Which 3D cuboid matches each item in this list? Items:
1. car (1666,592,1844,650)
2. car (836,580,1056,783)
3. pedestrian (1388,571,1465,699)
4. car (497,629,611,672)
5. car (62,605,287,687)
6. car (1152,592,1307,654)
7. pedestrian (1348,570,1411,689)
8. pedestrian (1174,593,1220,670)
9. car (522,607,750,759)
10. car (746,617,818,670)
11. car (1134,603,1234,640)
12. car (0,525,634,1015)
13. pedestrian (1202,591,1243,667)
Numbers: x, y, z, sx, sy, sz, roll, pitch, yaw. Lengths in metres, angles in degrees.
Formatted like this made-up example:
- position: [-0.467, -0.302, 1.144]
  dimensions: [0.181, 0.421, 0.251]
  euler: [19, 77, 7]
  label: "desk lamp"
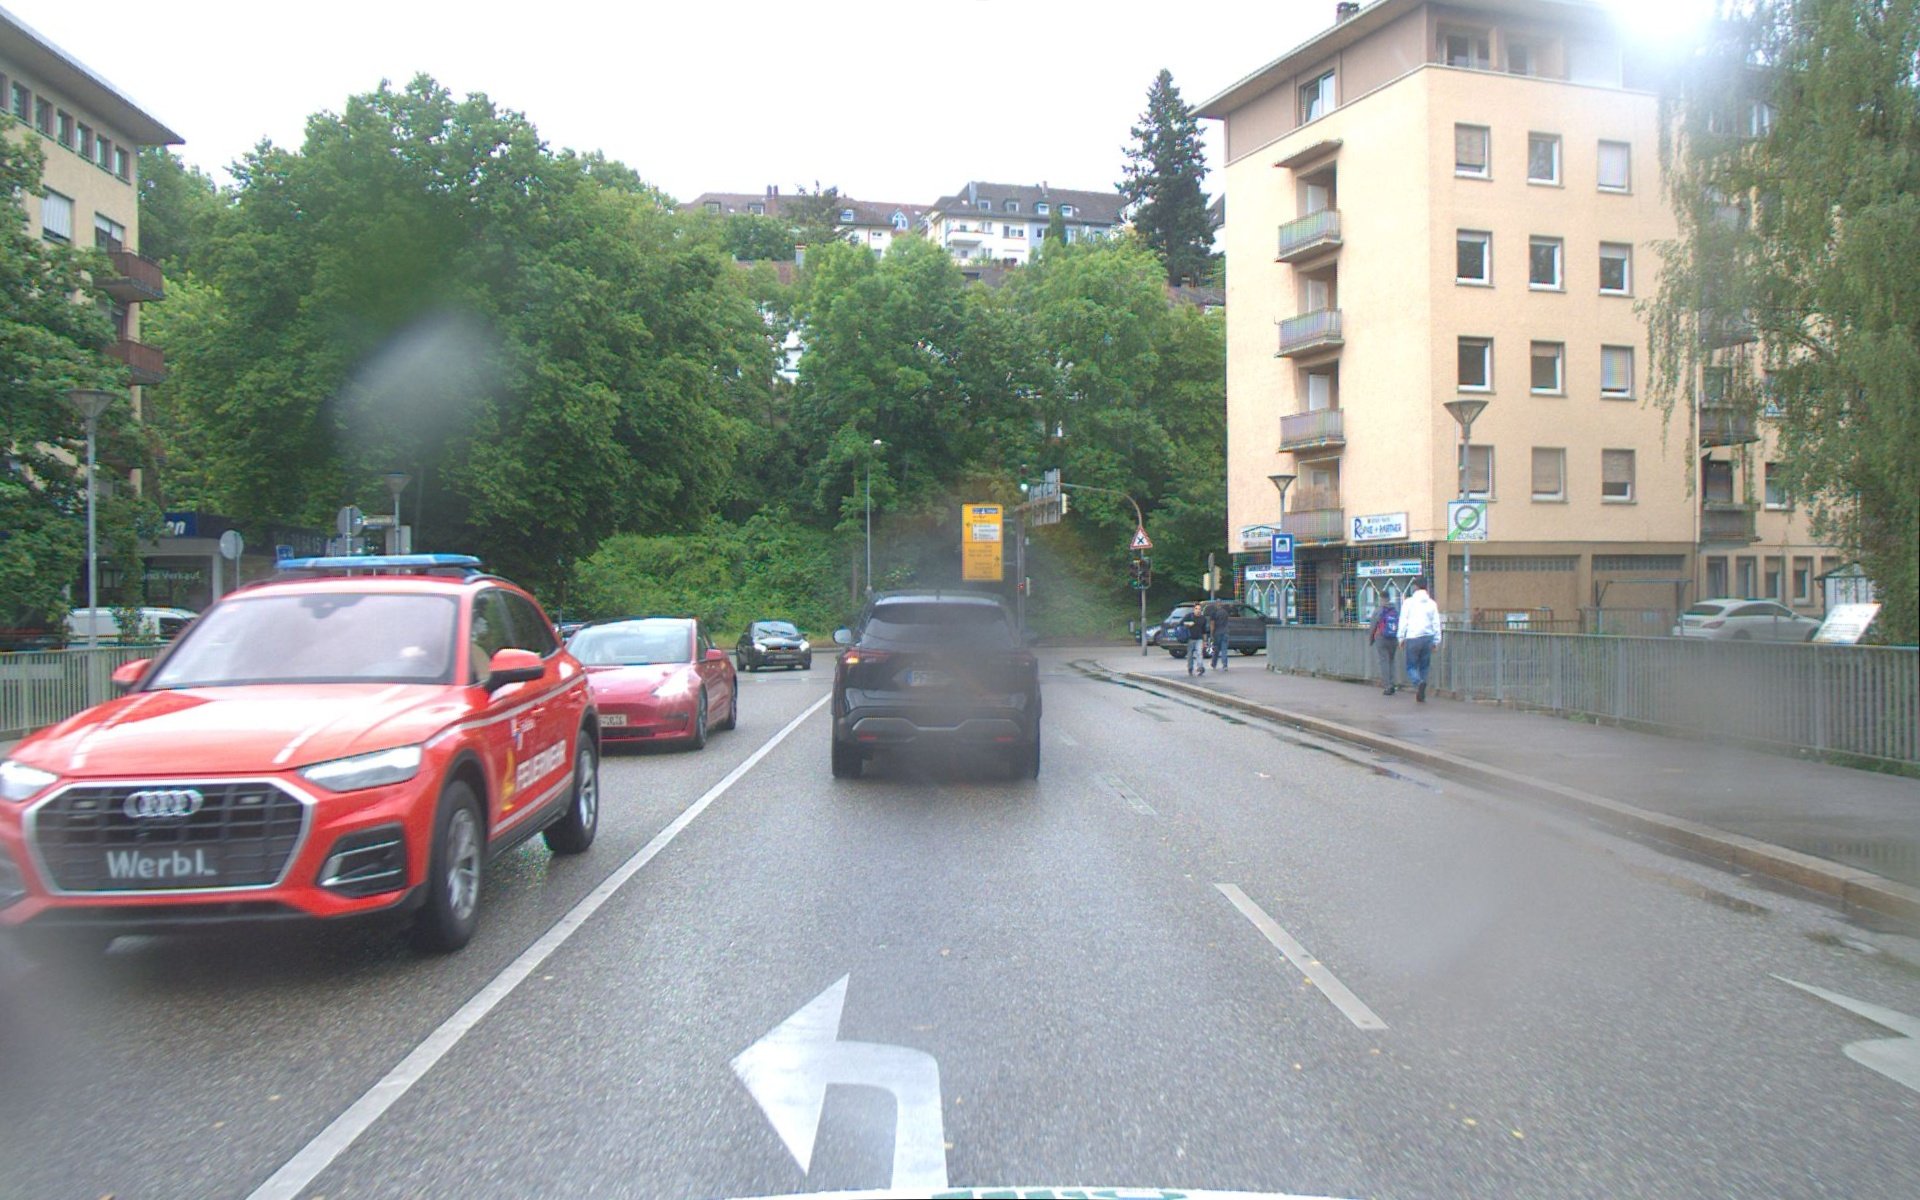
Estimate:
- position: [21.667, 0.536, 45.108]
  dimensions: [4.370, 1.400, 1.808]
  euler: [-1, 2, -18]
  label: "car"
- position: [-0.151, 0.673, 15.395]
  dimensions: [1.774, 1.631, 3.999]
  euler: [0, 0, -1]
  label: "car"
- position: [6.714, 0.495, 23.844]
  dimensions: [0.764, 1.783, 1.060]
  euler: [-1, -1, -2]
  label: "pedestrian"
- position: [-14.614, 1.819, 59.578]
  dimensions: [3.595, 1.444, 1.633]
  euler: [-1, -1, 9]
  label: "car"
- position: [-19.488, 1.115, 41.257]
  dimensions: [4.656, 1.886, 1.996]
  euler: [0, 1, -10]
  label: "car"
- position: [8.110, 0.677, 49.676]
  dimensions: [4.315, 1.678, 1.867]
  euler: [-2, -1, -27]
  label: "car"
- position: [6.659, 0.468, 26.278]
  dimensions: [0.745, 1.840, 0.781]
  euler: [-2, 0, -1]
  label: "pedestrian"
- position: [5.215, 0.689, 36.437]
  dimensions: [0.845, 1.647, 0.839]
  euler: [-2, -1, -1]
  label: "pedestrian"
- position: [-3.503, 0.836, 18.624]
  dimensions: [1.745, 1.427, 4.218]
  euler: [-2, 0, -1]
  label: "car"
- position: [-5.263, 1.248, 48.538]
  dimensions: [1.679, 1.441, 4.082]
  euler: [-2, 0, -12]
  label: "car"
- position: [10.570, 1.014, 78.182]
  dimensions: [4.249, 1.528, 1.877]
  euler: [-2, -1, -13]
  label: "car"
- position: [-2.997, 0.631, 8.321]
  dimensions: [1.850, 1.765, 4.370]
  euler: [-2, 0, -1]
  label: "car"
- position: [6.137, 0.670, 38.680]
  dimensions: [0.745, 1.706, 0.781]
  euler: [-3, 0, -1]
  label: "pedestrian"
